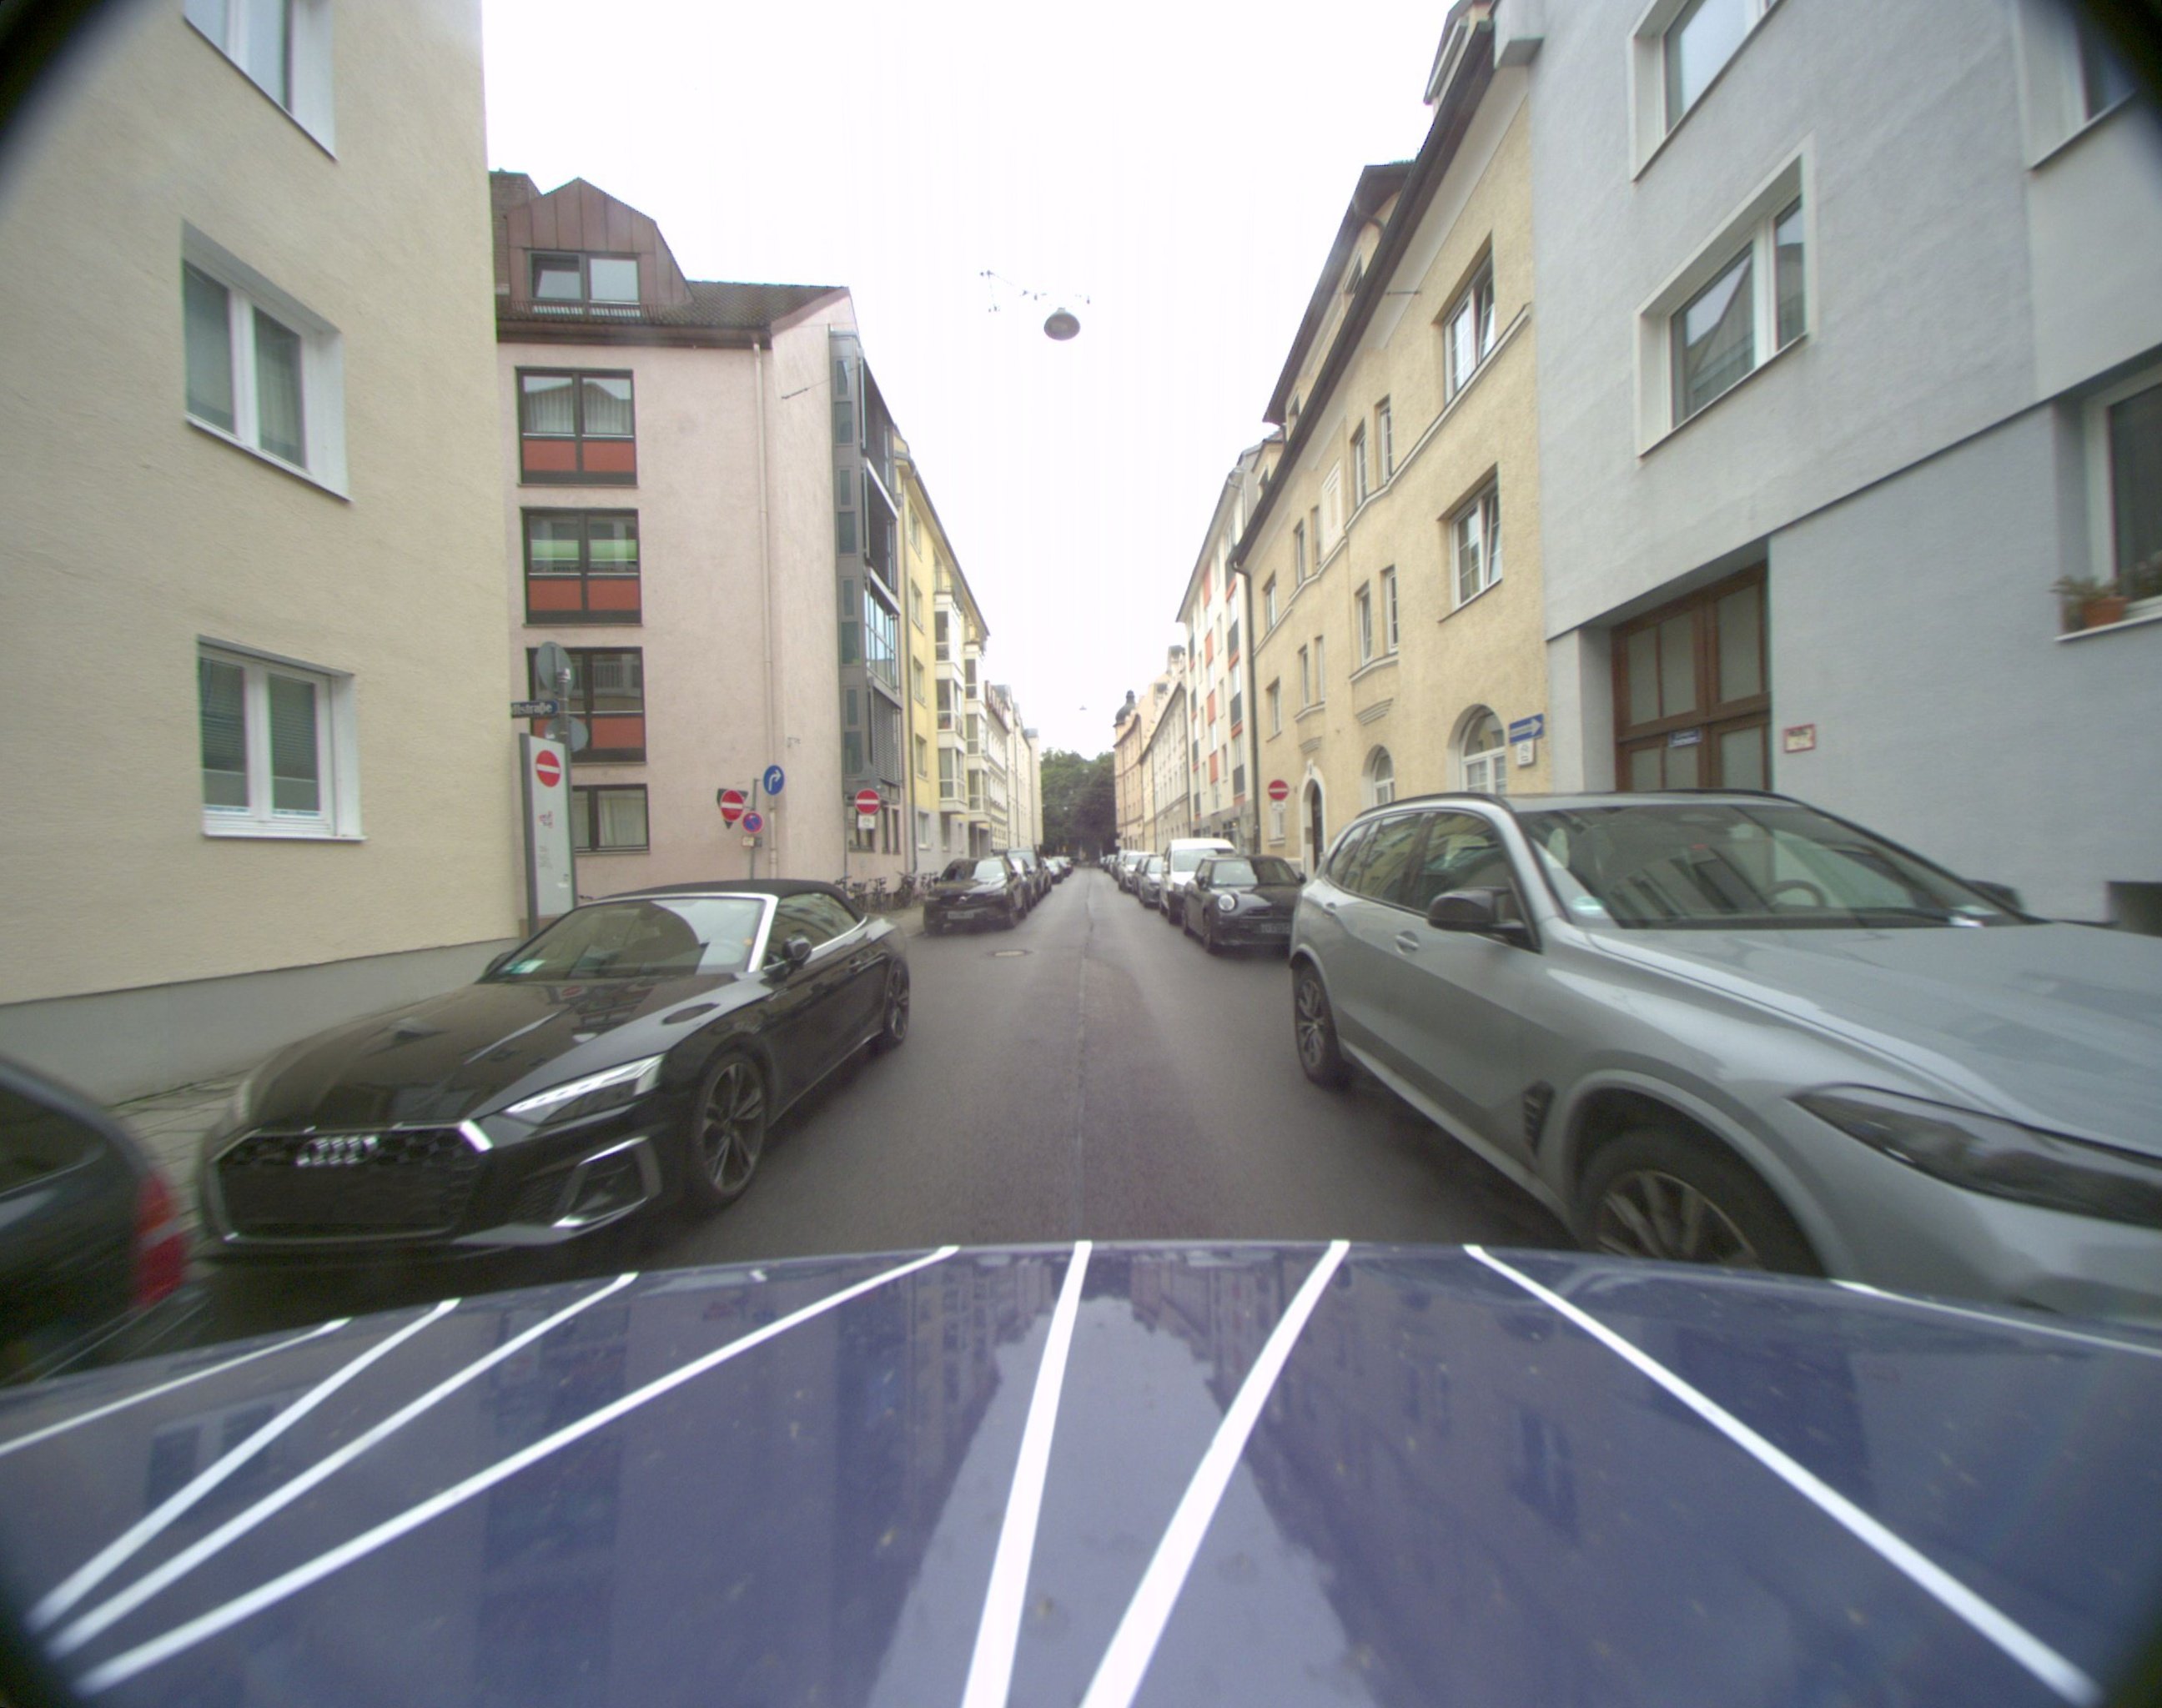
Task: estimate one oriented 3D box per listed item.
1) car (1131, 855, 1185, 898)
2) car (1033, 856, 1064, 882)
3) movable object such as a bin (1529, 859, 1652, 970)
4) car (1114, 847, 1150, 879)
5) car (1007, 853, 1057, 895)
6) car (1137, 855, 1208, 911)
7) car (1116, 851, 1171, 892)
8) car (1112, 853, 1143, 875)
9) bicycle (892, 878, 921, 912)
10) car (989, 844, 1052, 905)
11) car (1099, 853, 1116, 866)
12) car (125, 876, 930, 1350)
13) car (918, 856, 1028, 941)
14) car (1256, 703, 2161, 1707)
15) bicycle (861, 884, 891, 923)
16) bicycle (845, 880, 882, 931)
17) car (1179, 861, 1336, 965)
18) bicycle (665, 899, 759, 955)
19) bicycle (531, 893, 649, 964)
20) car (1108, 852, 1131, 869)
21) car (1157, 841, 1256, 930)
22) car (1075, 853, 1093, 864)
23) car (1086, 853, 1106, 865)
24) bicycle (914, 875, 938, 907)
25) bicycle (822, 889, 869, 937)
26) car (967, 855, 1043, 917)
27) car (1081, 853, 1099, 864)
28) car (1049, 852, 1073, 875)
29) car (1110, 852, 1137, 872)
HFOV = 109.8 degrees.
[{"bbox_3d":[2.752,0.776,27.845,1.632,1.466,3.841,0,0,0],"label":"car"},{"bbox_3d":[-2.032,0.889,46.811,1.749,1.433,4.227,-3,0,-4],"label":"car"},{"bbox_3d":[5.406,0.622,8.097,0.809,1.045,0.623,-6,1,0],"label":"movable object such as a bin"},{"bbox_3d":[3.127,0.522,47.157,1.951,1.850,4.908,0,0,1],"label":"car"},{"bbox_3d":[-2.150,0.837,34.407,1.837,1.676,4.228,-3,0,1],"label":"car"},{"bbox_3d":[2.605,0.783,22.386,1.676,1.467,4.112,0,0,1],"label":"car"},{"bbox_3d":[2.561,0.702,32.209,1.786,1.595,4.307,0,0,-3],"label":"car"},{"bbox_3d":[3.160,0.642,52.446,1.951,1.470,3.716,0,0,1],"label":"car"},{"bbox_3d":[-5.264,1.222,23.004,0.442,0.942,1.576,-2,0,1],"label":"bicycle"},{"bbox_3d":[-2.199,0.670,28.828,1.878,2.002,5.106,-3,1,0],"label":"car"},{"bbox_3d":[3.178,0.670,90.826,1.951,1.470,3.979,0,0,1],"label":"car"},{"bbox_3d":[-2.372,0.978,4.871,1.837,1.398,4.410,-3,1,0],"label":"car"},{"bbox_3d":[-2.383,0.925,17.890,1.837,1.612,4.410,-3,1,0],"label":"car"},{"bbox_3d":[2.292,0.697,3.265,1.868,1.759,4.735,0,0,-2],"label":"car"},{"bbox_3d":[-5.330,1.272,19.786,0.358,0.942,1.269,-2,0,1],"label":"bicycle"},{"bbox_3d":[-5.190,1.214,18.208,0.358,1.115,1.543,-2,0,1],"label":"bicycle"},{"bbox_3d":[2.620,0.813,12.130,1.656,1.403,3.735,0,0,0],"label":"car"},{"bbox_3d":[-6.941,1.368,14.322,1.452,0.942,0.552,-2,0,-4],"label":"bicycle"},{"bbox_3d":[-9.050,1.365,14.038,1.736,1.172,0.552,-2,0,-4],"label":"bicycle"},{"bbox_3d":[3.526,0.583,69.614,1.951,1.470,3.979,0,0,1],"label":"car"},{"bbox_3d":[2.713,0.591,17.285,1.728,1.779,4.249,0,1,2],"label":"car"},{"bbox_3d":[0.375,0.622,108.723,1.800,1.501,3.996,0,0,-10],"label":"car"},{"bbox_3d":[1.972,0.640,100.424,1.800,1.501,3.996,0,0,-10],"label":"car"},{"bbox_3d":[-5.083,1.213,24.974,0.422,0.970,1.446,-2,0,1],"label":"bicycle"},{"bbox_3d":[-5.158,1.278,16.710,0.552,0.942,1.357,-2,0,1],"label":"bicycle"},{"bbox_3d":[-2.242,0.918,23.553,1.837,1.612,4.323,-3,0,0],"label":"car"},{"bbox_3d":[1.208,0.610,104.621,1.800,1.501,3.996,0,0,-10],"label":"car"},{"bbox_3d":[-1.579,0.722,61.602,1.739,1.743,3.686,-3,0,0],"label":"car"},{"bbox_3d":[3.285,0.619,59.507,1.951,1.470,3.716,0,0,1],"label":"car"}]
